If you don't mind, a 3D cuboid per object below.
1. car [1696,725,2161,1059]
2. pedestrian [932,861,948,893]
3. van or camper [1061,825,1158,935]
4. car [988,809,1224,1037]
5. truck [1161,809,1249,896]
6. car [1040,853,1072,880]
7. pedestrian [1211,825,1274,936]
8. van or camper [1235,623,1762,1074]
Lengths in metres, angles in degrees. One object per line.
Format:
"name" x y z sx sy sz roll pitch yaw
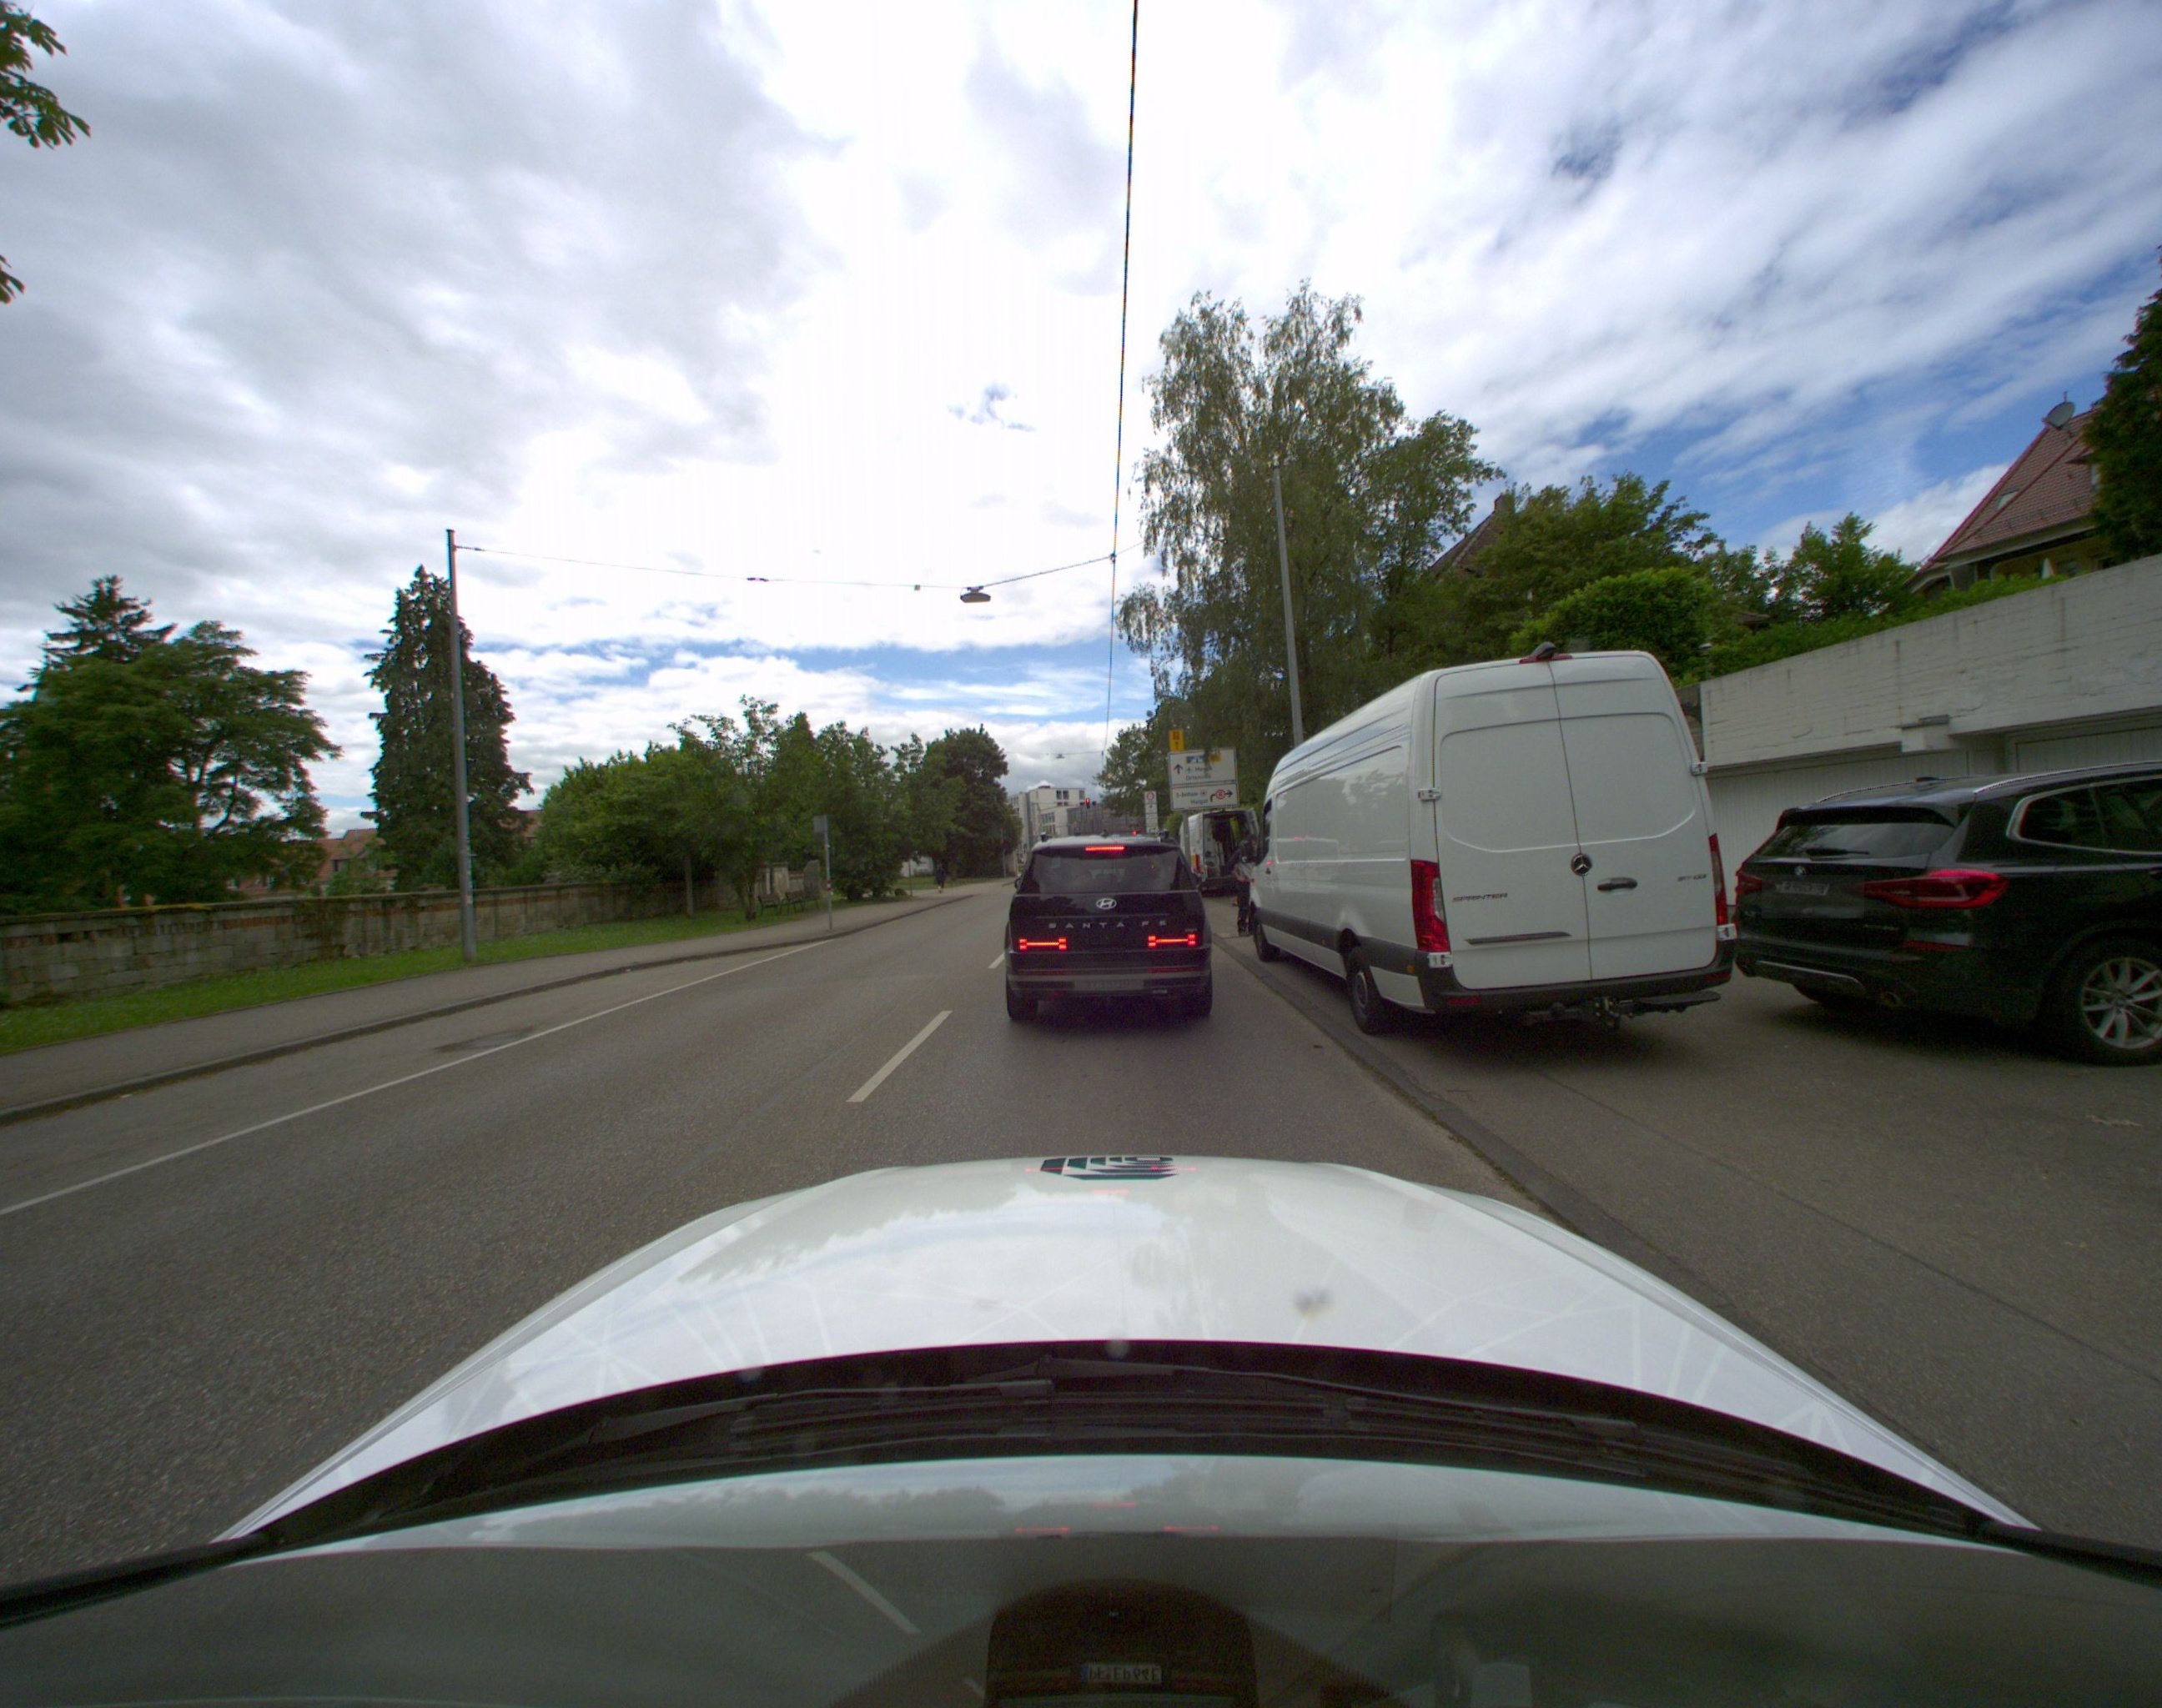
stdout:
"car" 6.861 0.126 5.215 4.398 1.750 1.739 -3 0 3
"pedestrian" -7.799 1.249 45.017 0.737 1.715 0.791 -3 0 -5
"van or camper" 0.614 0.507 17.598 1.748 2.013 4.002 -3 0 2
"car" 0.265 0.566 8.655 1.883 1.819 4.002 -2 0 2
"truck" 4.130 -0.011 28.021 1.937 2.561 5.213 -5 -1 -1
"car" -1.783 0.872 59.041 1.852 1.657 4.307 -6 0 2
"pedestrian" 2.761 0.444 13.993 0.867 1.797 0.760 -3 0 1
"van or camper" 3.132 -0.030 8.184 1.986 2.620 6.543 -3 0 2
